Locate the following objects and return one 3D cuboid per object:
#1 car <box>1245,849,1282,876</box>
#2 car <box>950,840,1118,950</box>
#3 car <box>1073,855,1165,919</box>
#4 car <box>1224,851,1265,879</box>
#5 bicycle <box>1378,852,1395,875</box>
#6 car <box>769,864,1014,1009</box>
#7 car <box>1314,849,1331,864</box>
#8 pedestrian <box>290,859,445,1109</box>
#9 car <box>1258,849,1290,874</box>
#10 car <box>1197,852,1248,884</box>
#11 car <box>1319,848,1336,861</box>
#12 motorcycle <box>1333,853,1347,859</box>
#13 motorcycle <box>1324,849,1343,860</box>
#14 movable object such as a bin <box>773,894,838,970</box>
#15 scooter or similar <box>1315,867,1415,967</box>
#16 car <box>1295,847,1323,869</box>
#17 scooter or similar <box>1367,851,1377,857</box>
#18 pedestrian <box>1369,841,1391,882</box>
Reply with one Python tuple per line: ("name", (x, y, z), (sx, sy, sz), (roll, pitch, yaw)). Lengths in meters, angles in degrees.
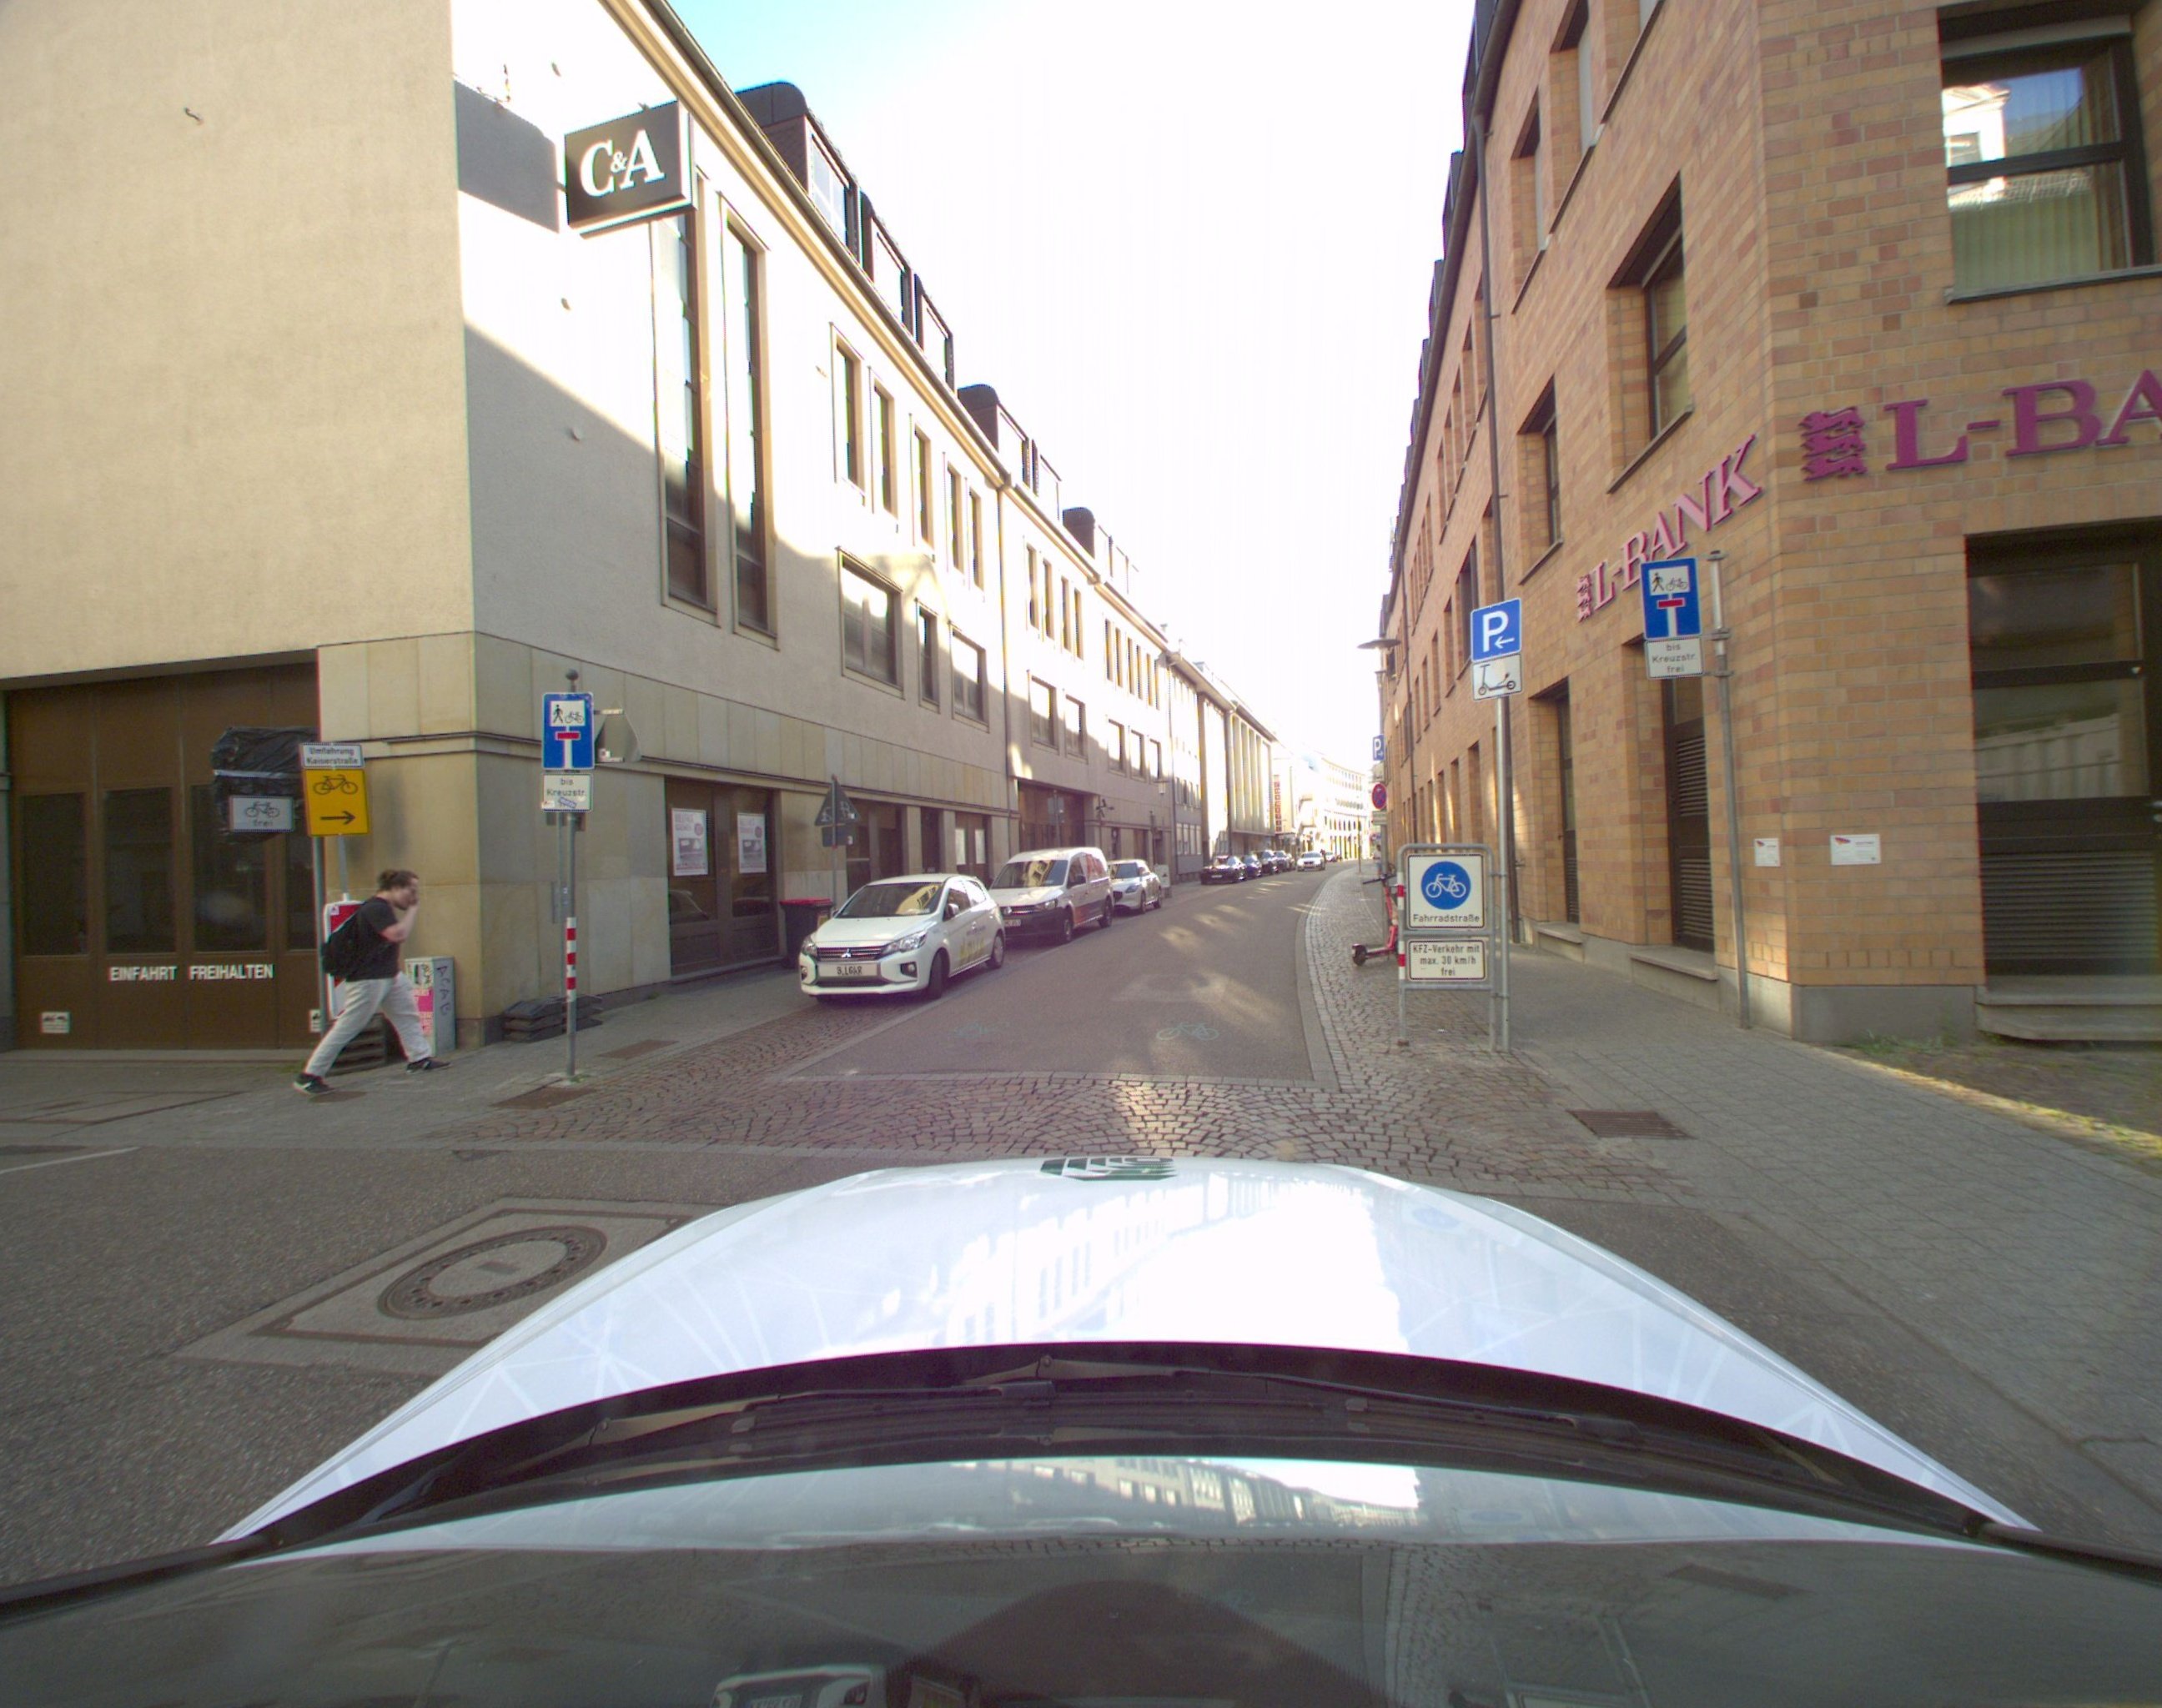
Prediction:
("car", (12.245, 0.524, 54.491), (1.875, 1.676, 4.575), (-3, 0, 18))
("car", (-0.756, 0.722, 16.799), (1.885, 1.857, 4.754), (-4, -1, 16))
("car", (1.163, 0.855, 22.868), (1.657, 1.522, 3.791), (-5, -1, 16))
("car", (9.863, 0.642, 48.851), (1.875, 1.530, 4.360), (-3, 0, 18))
("bicycle", (15.876, 0.492, 42.312), (0.545, 1.103, 1.990), (-6, -1, 16))
("car", (-2.317, 0.965, 11.049), (1.726, 1.492, 3.811), (-4, -1, 11))
("car", (26.689, 0.246, 89.818), (1.626, 1.517, 4.179), (-3, 0, 18))
("pedestrian", (-5.827, 1.004, 6.705), (0.866, 1.855, 0.708), (-2, -2, -37))
("car", (14.562, 0.532, 61.322), (1.875, 1.742, 4.411), (-3, 0, 18))
("car", (7.511, 0.695, 42.904), (1.875, 1.530, 4.751), (-3, 0, 18))
("car", (31.487, 0.007, 103.981), (1.721, 1.606, 3.552), (-1, 0, 22))
("motorcycle", (35.191, 0.266, 110.534), (1.675, 0.859, 0.598), (0, -1, 26))
("motorcycle", (35.599, 0.091, 114.714), (2.370, 1.317, 0.866), (-3, -1, 21))
("movable object such as a bin", (-4.217, 1.171, 12.473), (0.731, 1.101, 0.593), (0, -1, 12))
("scooter or similar", (3.891, 0.823, 11.119), (1.425, 1.235, 0.533), (-2, 0, -35))
("car", (16.755, 0.252, 59.762), (1.701, 1.517, 4.179), (-3, 0, 18))
("scooter or similar", (51.331, -0.047, 143.501), (2.238, 0.928, 0.521), (-1, 0, -39))
("pedestrian", (12.998, 0.326, 35.463), (0.754, 1.716, 0.825), (-4, -1, 18))
